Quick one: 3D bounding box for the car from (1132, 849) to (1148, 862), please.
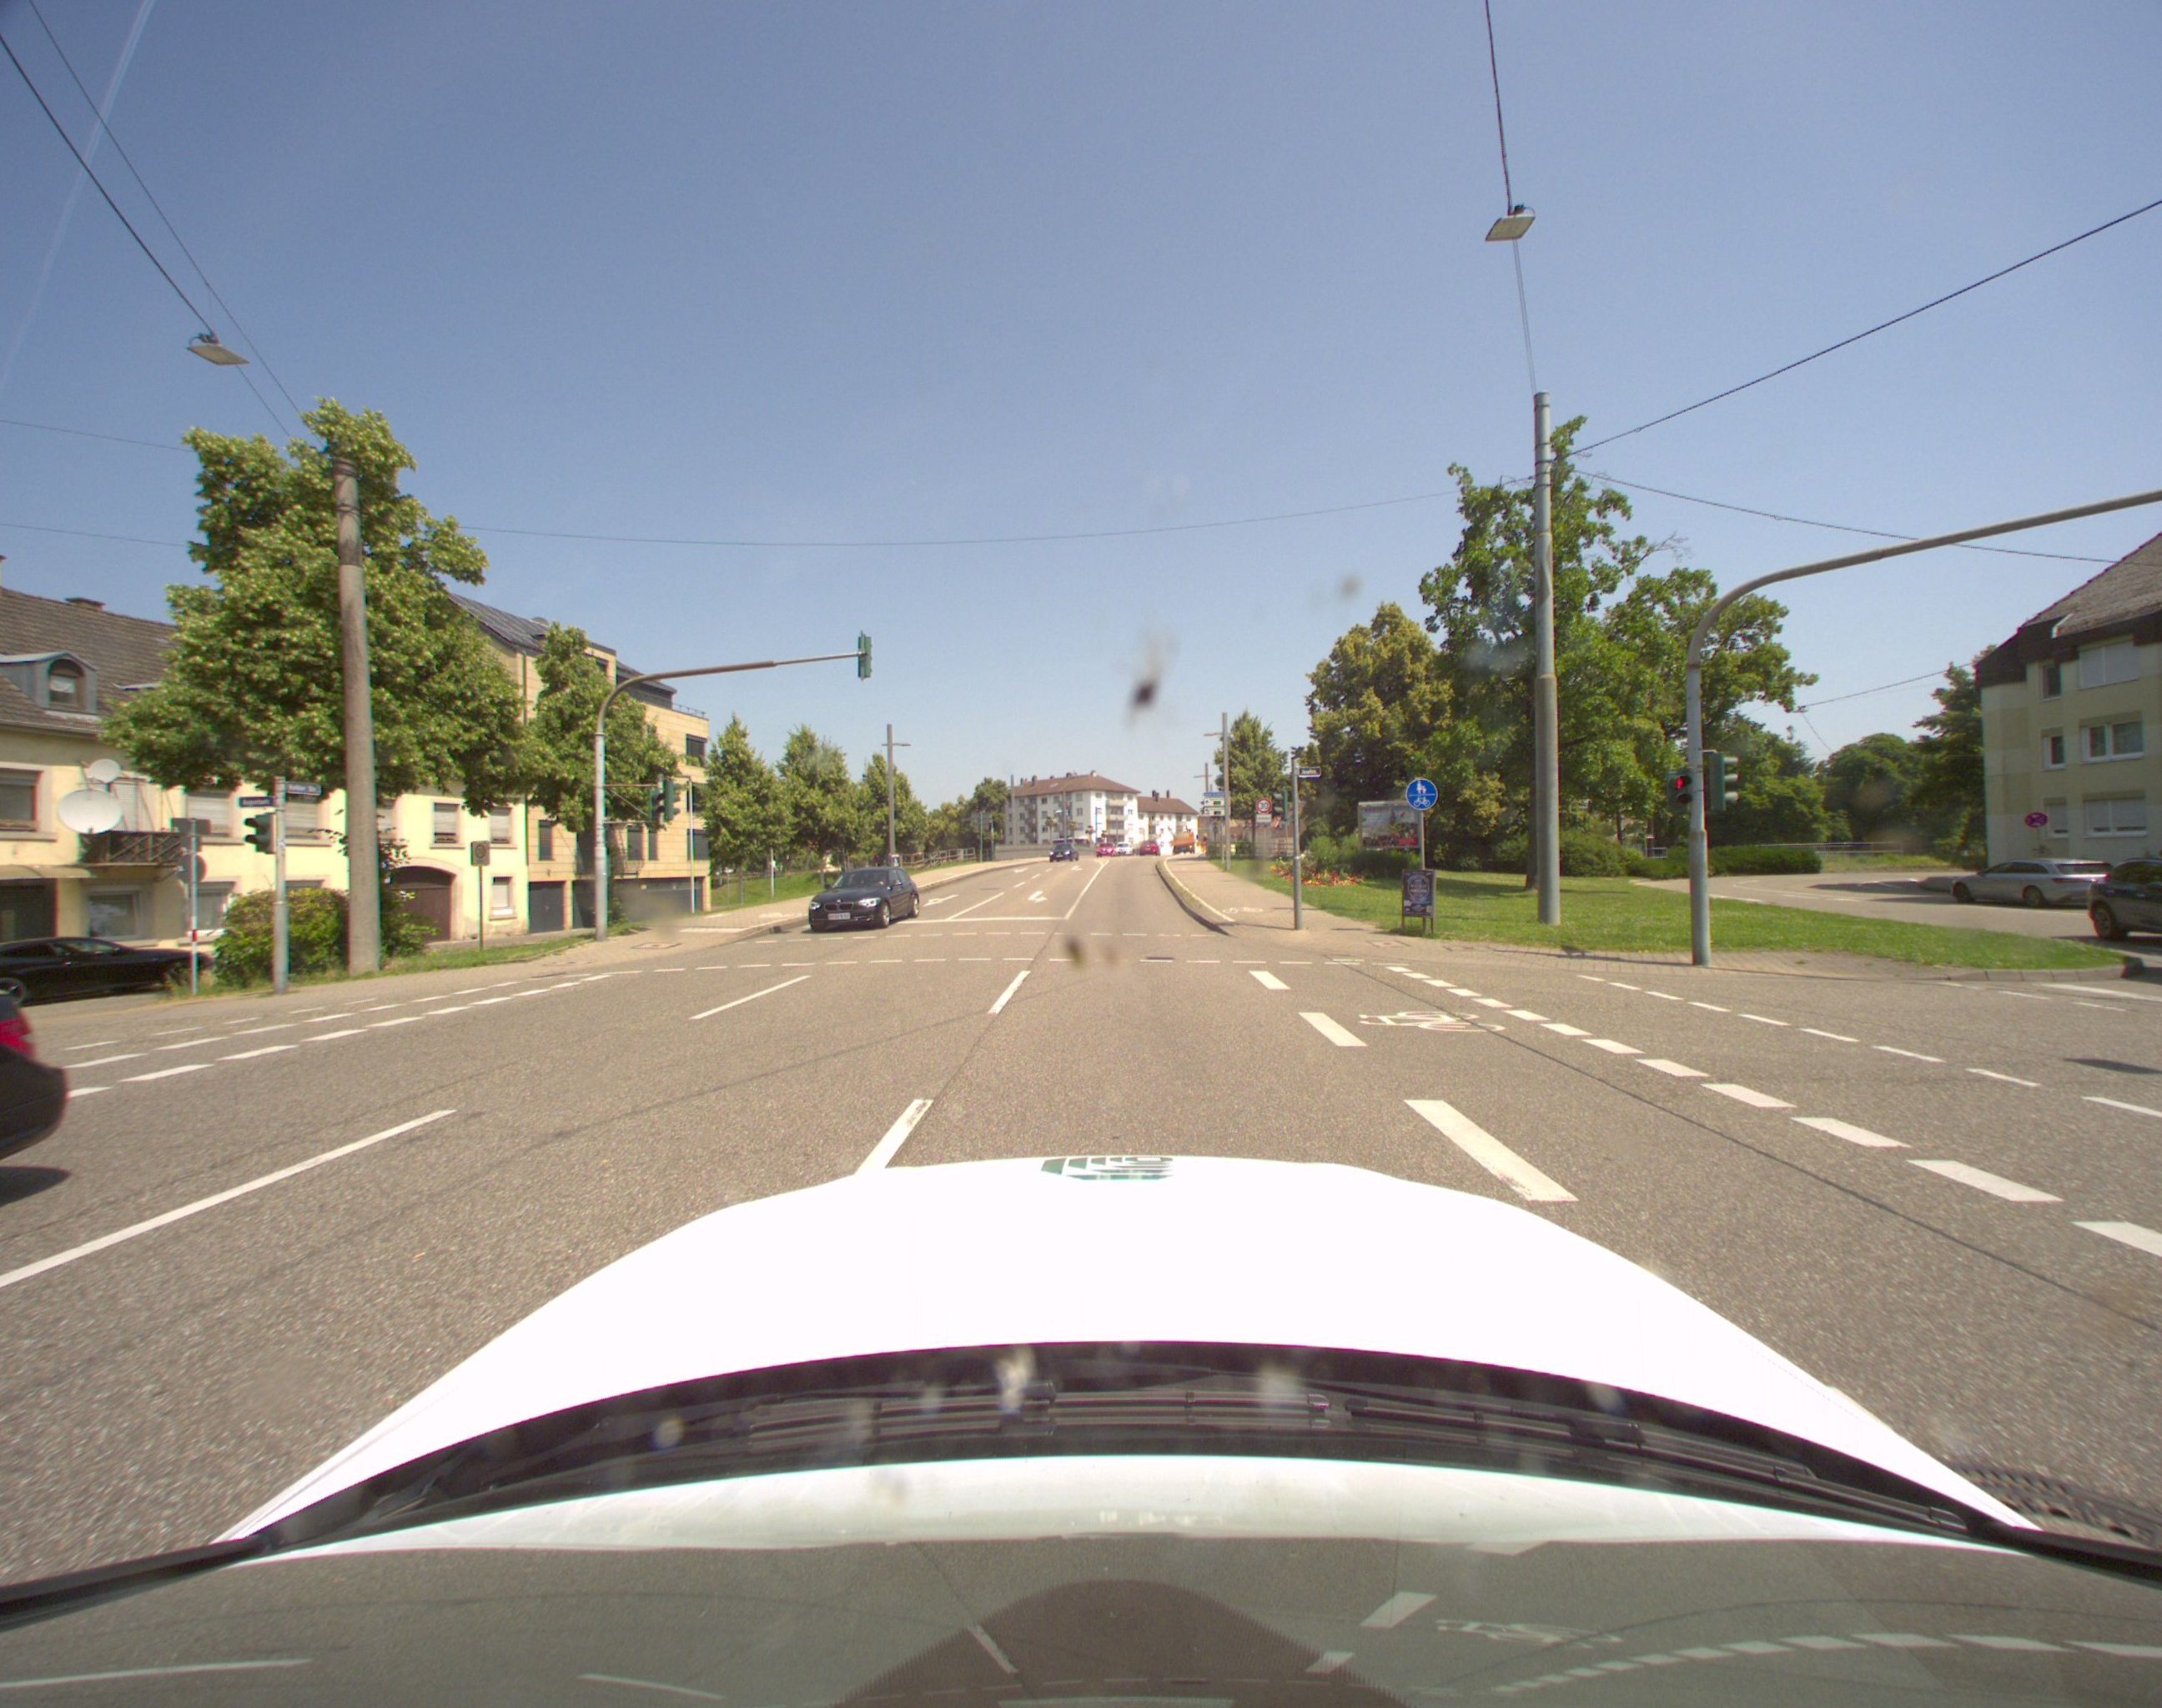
[{"bbox_3d":[8.533,0.232,118.186,1.726,1.640,3.932,-4,-1,10],"label":"car"}]

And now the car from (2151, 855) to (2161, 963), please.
[{"bbox_3d":[15.680,0.794,10.551,4.843,1.632,1.895,1,-2,-40],"label":"car"}]

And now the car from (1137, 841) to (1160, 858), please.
[{"bbox_3d":[6.782,-0.424,81.310,1.979,1.613,4.352,-2,0,8],"label":"car"}]

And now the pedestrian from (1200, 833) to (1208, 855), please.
[{"bbox_3d":[11.202,-0.884,74.374,0.545,1.960,0.672,-1,-1,-1],"label":"pedestrian"}]

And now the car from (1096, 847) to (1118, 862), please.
[{"bbox_3d":[2.635,0.039,81.953,1.637,1.464,3.871,-1,0,9],"label":"car"}]

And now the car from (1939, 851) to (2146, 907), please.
[{"bbox_3d":[28.718,0.713,24.597,1.878,1.499,4.549,0,-1,17],"label":"car"}]

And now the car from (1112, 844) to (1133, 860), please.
[{"bbox_3d":[5.123,-0.243,99.879,1.825,1.860,4.677,-3,-1,11],"label":"car"}]

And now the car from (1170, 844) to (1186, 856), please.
[{"bbox_3d":[13.433,-0.542,112.450,2.026,1.503,4.429,0,-1,10],"label":"car"}]

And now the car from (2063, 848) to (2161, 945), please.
[{"bbox_3d":[20.285,0.726,14.562,1.974,1.701,4.798,-3,-2,32],"label":"car"}]

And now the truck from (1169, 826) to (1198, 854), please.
[{"bbox_3d":[10.735,-1.414,84.726,2.589,2.691,5.840,-2,0,10],"label":"truck"}]

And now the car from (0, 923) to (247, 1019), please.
[{"bbox_3d":[-22.437,2.582,18.115,1.804,1.628,5.300,-4,-1,9],"label":"car"}]

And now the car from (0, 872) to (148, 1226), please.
[{"bbox_3d":[-5.728,0.900,2.010,1.749,1.560,4.318,-3,-1,1],"label":"car"}]

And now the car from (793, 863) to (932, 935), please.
[{"bbox_3d":[-5.215,1.028,20.022,1.827,1.399,4.057,-4,0,7],"label":"car"}]

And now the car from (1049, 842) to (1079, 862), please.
[{"bbox_3d":[-1.267,-0.135,63.220,1.704,1.485,4.040,0,-1,8],"label":"car"}]

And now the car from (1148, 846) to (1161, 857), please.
[{"bbox_3d":[12.264,-0.353,135.798,1.670,1.708,3.865,0,-1,13],"label":"car"}]
